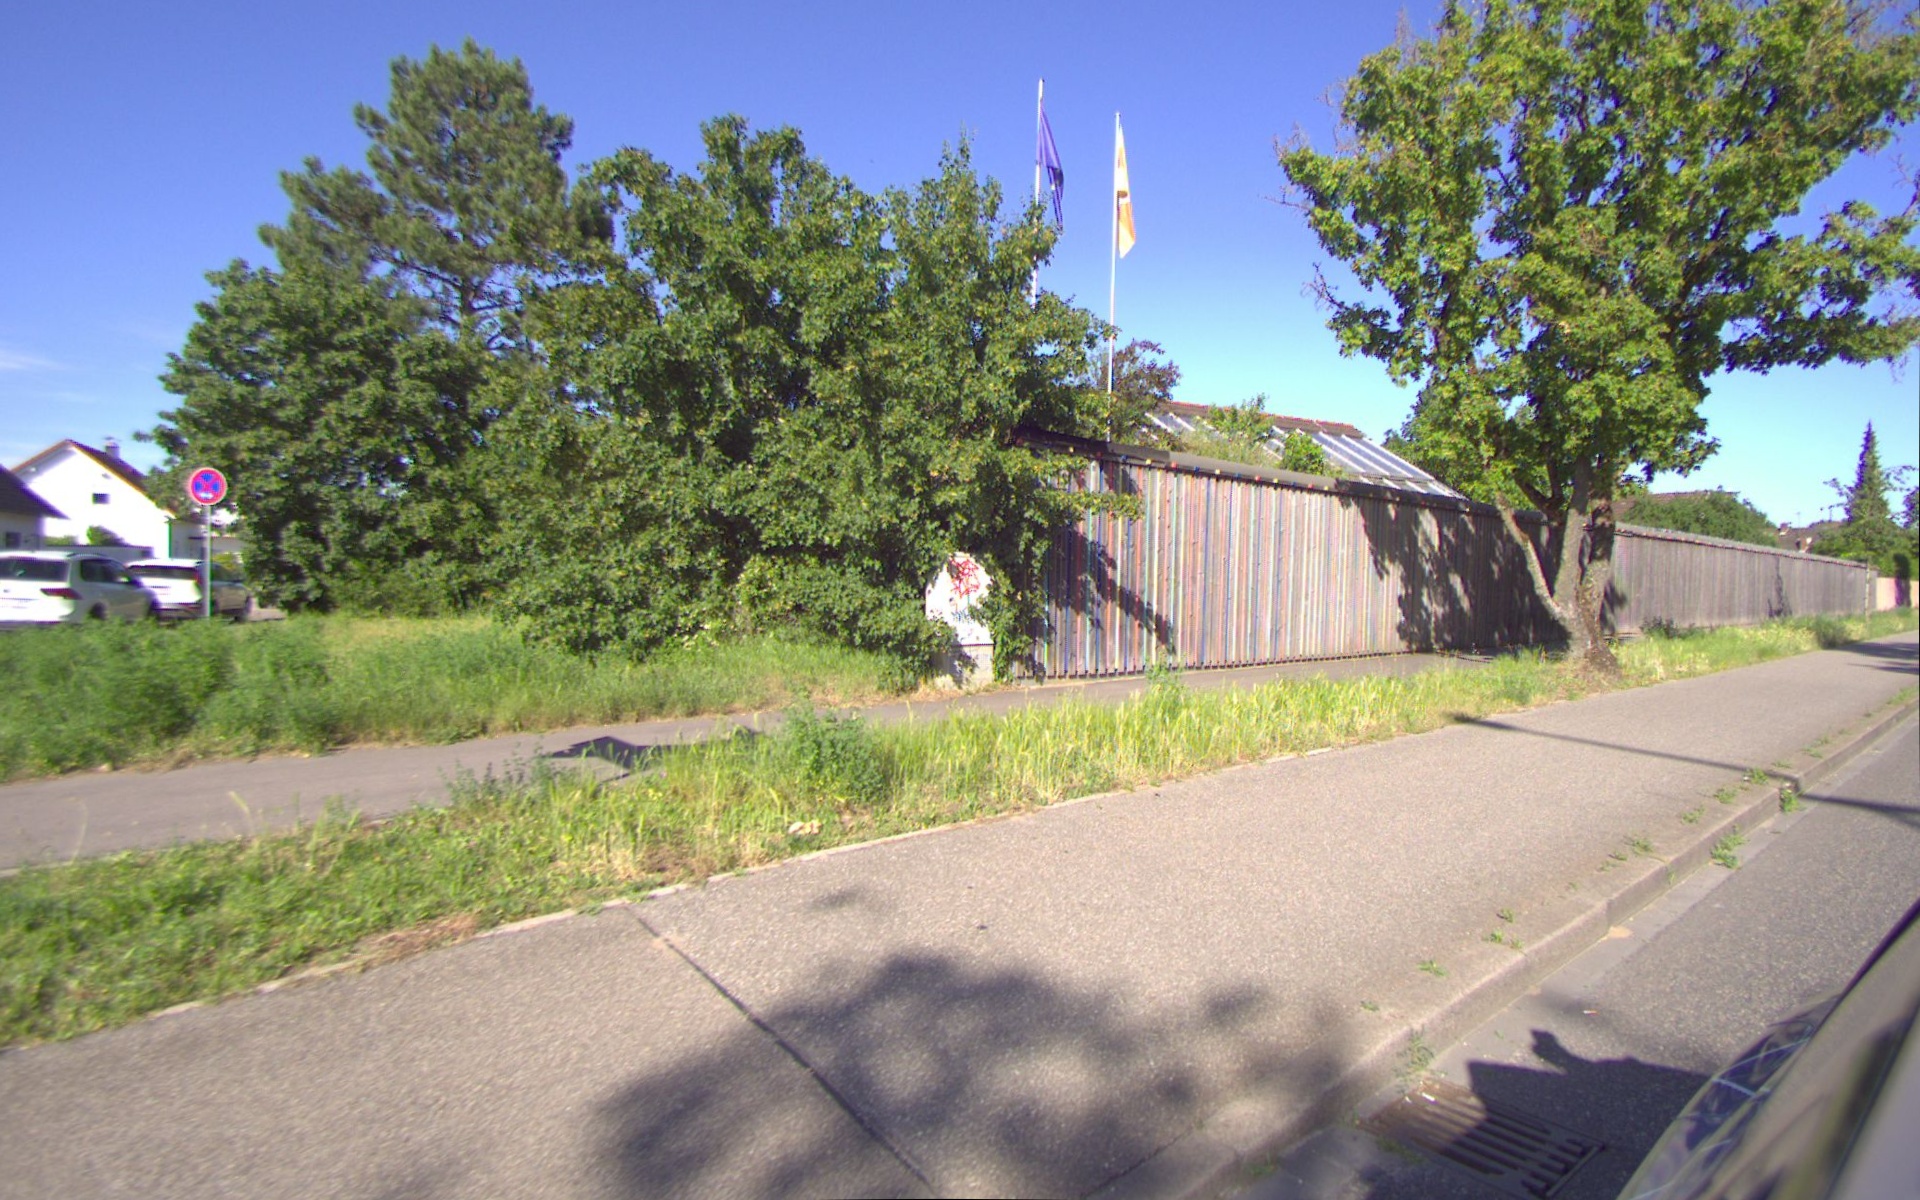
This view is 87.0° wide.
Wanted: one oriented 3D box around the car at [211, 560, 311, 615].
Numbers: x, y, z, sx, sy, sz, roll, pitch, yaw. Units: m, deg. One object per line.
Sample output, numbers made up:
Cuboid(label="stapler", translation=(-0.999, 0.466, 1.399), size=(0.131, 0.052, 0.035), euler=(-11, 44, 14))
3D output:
Cuboid(label="car", translation=(-21.445, -0.397, 31.189), size=(1.745, 1.596, 3.759), euler=(1, 1, -22))

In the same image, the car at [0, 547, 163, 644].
Cuboid(label="car", translation=(-15.647, -0.059, 17.548), size=(1.805, 1.503, 3.932), euler=(2, -1, -22))

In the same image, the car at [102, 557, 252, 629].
Cuboid(label="car", translation=(-17.850, -0.199, 23.273), size=(1.745, 1.502, 3.759), euler=(2, 1, -22))
